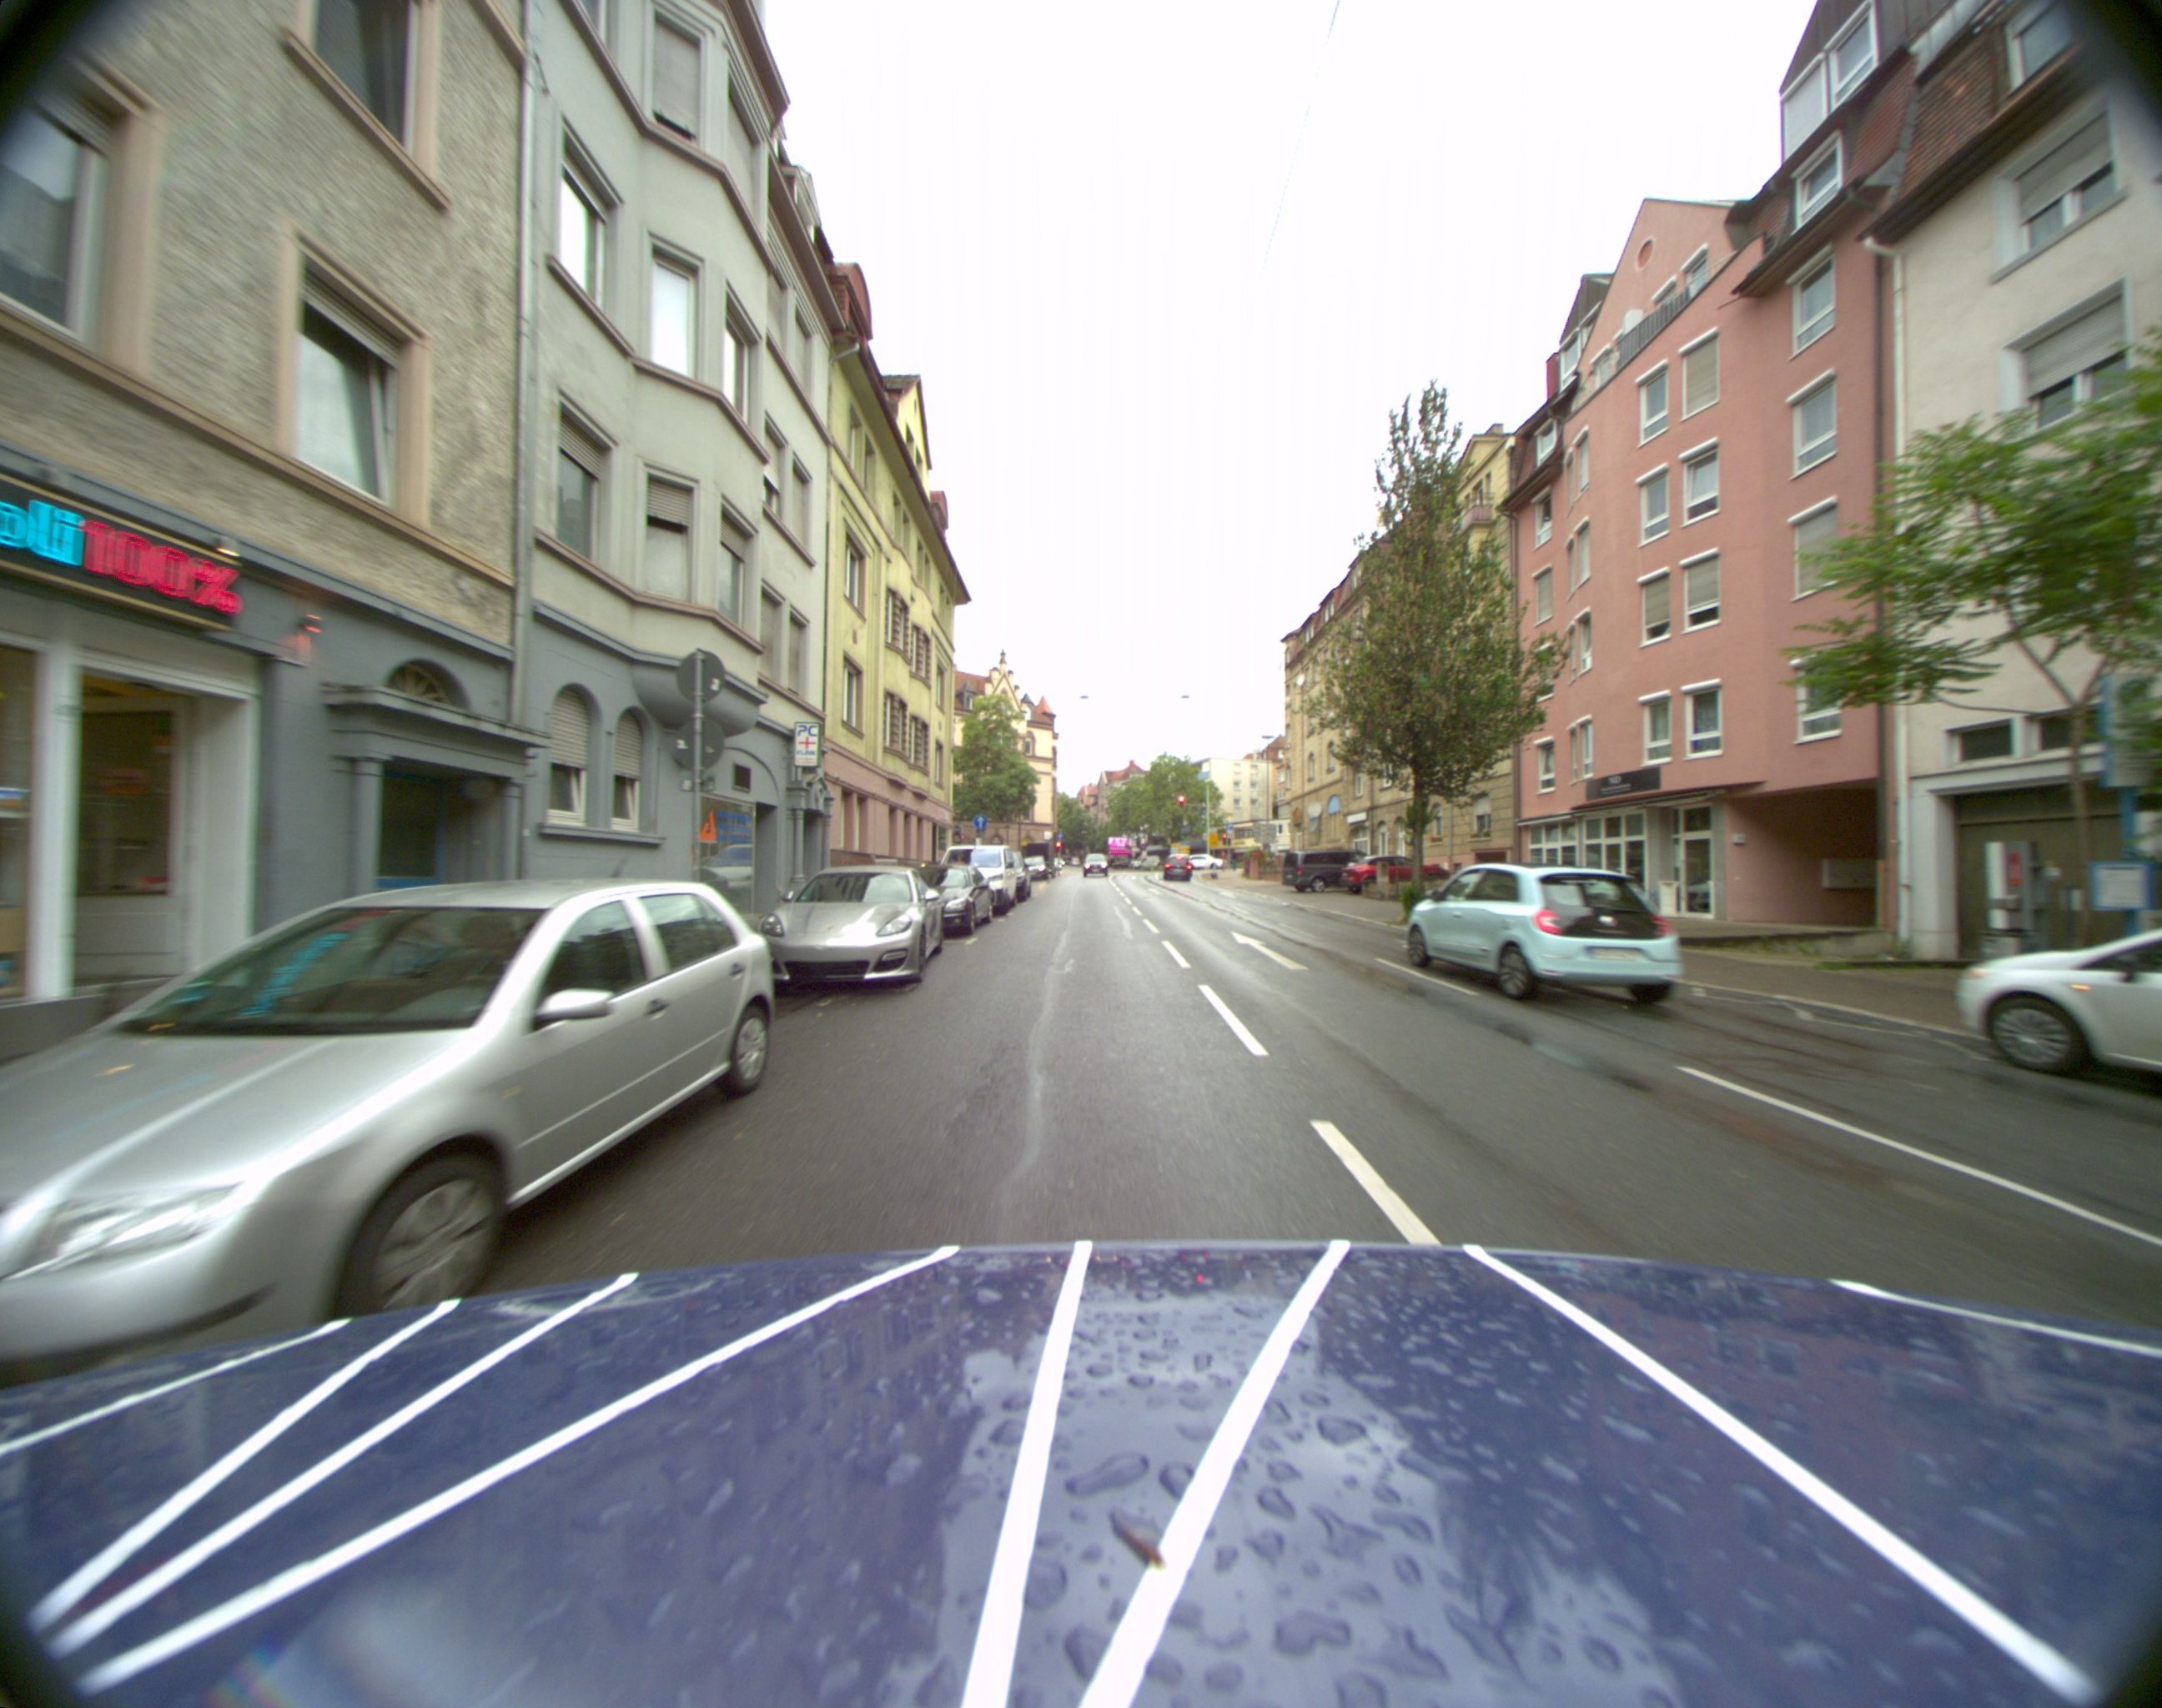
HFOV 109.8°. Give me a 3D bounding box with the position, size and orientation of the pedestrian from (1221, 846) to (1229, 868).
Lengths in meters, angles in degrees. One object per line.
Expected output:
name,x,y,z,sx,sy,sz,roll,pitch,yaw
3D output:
pedestrian,11.965,0.240,63.097,0.523,1.763,0.694,-2,0,7

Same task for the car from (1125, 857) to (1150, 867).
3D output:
car,9.640,1.398,130.400,3.841,1.680,1.802,-1,2,-27

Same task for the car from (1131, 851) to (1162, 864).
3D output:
car,10.831,0.623,125.521,4.983,1.966,1.876,-2,1,-28

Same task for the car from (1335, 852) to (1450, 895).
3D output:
car,13.207,0.807,32.393,4.107,1.581,1.897,-2,1,0

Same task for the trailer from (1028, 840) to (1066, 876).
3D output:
trailer,-2.513,0.257,57.596,1.937,2.621,4.687,0,0,9

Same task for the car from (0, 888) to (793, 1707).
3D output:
car,-2.905,1.006,3.415,1.615,1.466,4.015,-1,0,1

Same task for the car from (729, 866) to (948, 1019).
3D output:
car,-2.997,0.979,10.513,1.881,1.459,4.772,-2,1,-6

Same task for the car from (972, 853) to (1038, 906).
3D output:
car,-2.661,0.849,27.635,1.883,1.721,4.676,1,0,1

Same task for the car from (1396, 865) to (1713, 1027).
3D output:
car,5.608,0.965,9.640,1.640,1.499,3.754,3,1,1

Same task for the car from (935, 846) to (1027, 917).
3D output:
car,-2.758,0.688,22.014,1.924,1.817,5.009,1,0,1

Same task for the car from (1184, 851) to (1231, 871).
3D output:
car,13.336,0.713,80.202,4.444,2.002,1.920,-2,1,29

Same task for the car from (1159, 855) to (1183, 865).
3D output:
car,14.159,0.945,118.983,3.628,1.408,1.626,-2,1,-37

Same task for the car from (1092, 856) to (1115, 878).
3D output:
car,1.710,0.950,58.304,1.648,1.594,3.808,0,0,0

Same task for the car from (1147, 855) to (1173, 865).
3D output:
car,12.533,0.951,120.690,3.711,1.408,1.807,-2,1,-33

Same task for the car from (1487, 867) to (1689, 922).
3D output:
car,14.355,1.130,21.685,4.559,1.393,1.767,1,0,0

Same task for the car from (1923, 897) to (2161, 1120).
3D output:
car,8.215,1.114,4.699,1.625,1.437,4.005,0,0,2

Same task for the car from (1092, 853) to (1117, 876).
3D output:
car,1.631,0.707,54.150,1.648,1.594,3.667,0,0,0

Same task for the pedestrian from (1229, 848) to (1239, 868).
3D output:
pedestrian,12.977,0.318,64.423,0.638,1.692,0.829,-2,0,3

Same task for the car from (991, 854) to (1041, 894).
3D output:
car,-2.784,0.833,33.464,1.803,1.555,4.492,-2,0,0

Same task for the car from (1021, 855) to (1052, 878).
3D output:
car,-2.955,0.826,51.123,1.862,1.503,3.682,0,0,0

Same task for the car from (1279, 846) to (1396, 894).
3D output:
car,11.615,0.701,34.522,4.690,1.927,1.862,-2,0,-9

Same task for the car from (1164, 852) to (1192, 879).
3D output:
car,6.599,0.734,51.367,1.623,1.639,4.423,3,1,10

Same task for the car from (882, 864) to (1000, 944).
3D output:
car,-2.849,0.969,16.380,1.681,1.367,4.276,-1,0,1
